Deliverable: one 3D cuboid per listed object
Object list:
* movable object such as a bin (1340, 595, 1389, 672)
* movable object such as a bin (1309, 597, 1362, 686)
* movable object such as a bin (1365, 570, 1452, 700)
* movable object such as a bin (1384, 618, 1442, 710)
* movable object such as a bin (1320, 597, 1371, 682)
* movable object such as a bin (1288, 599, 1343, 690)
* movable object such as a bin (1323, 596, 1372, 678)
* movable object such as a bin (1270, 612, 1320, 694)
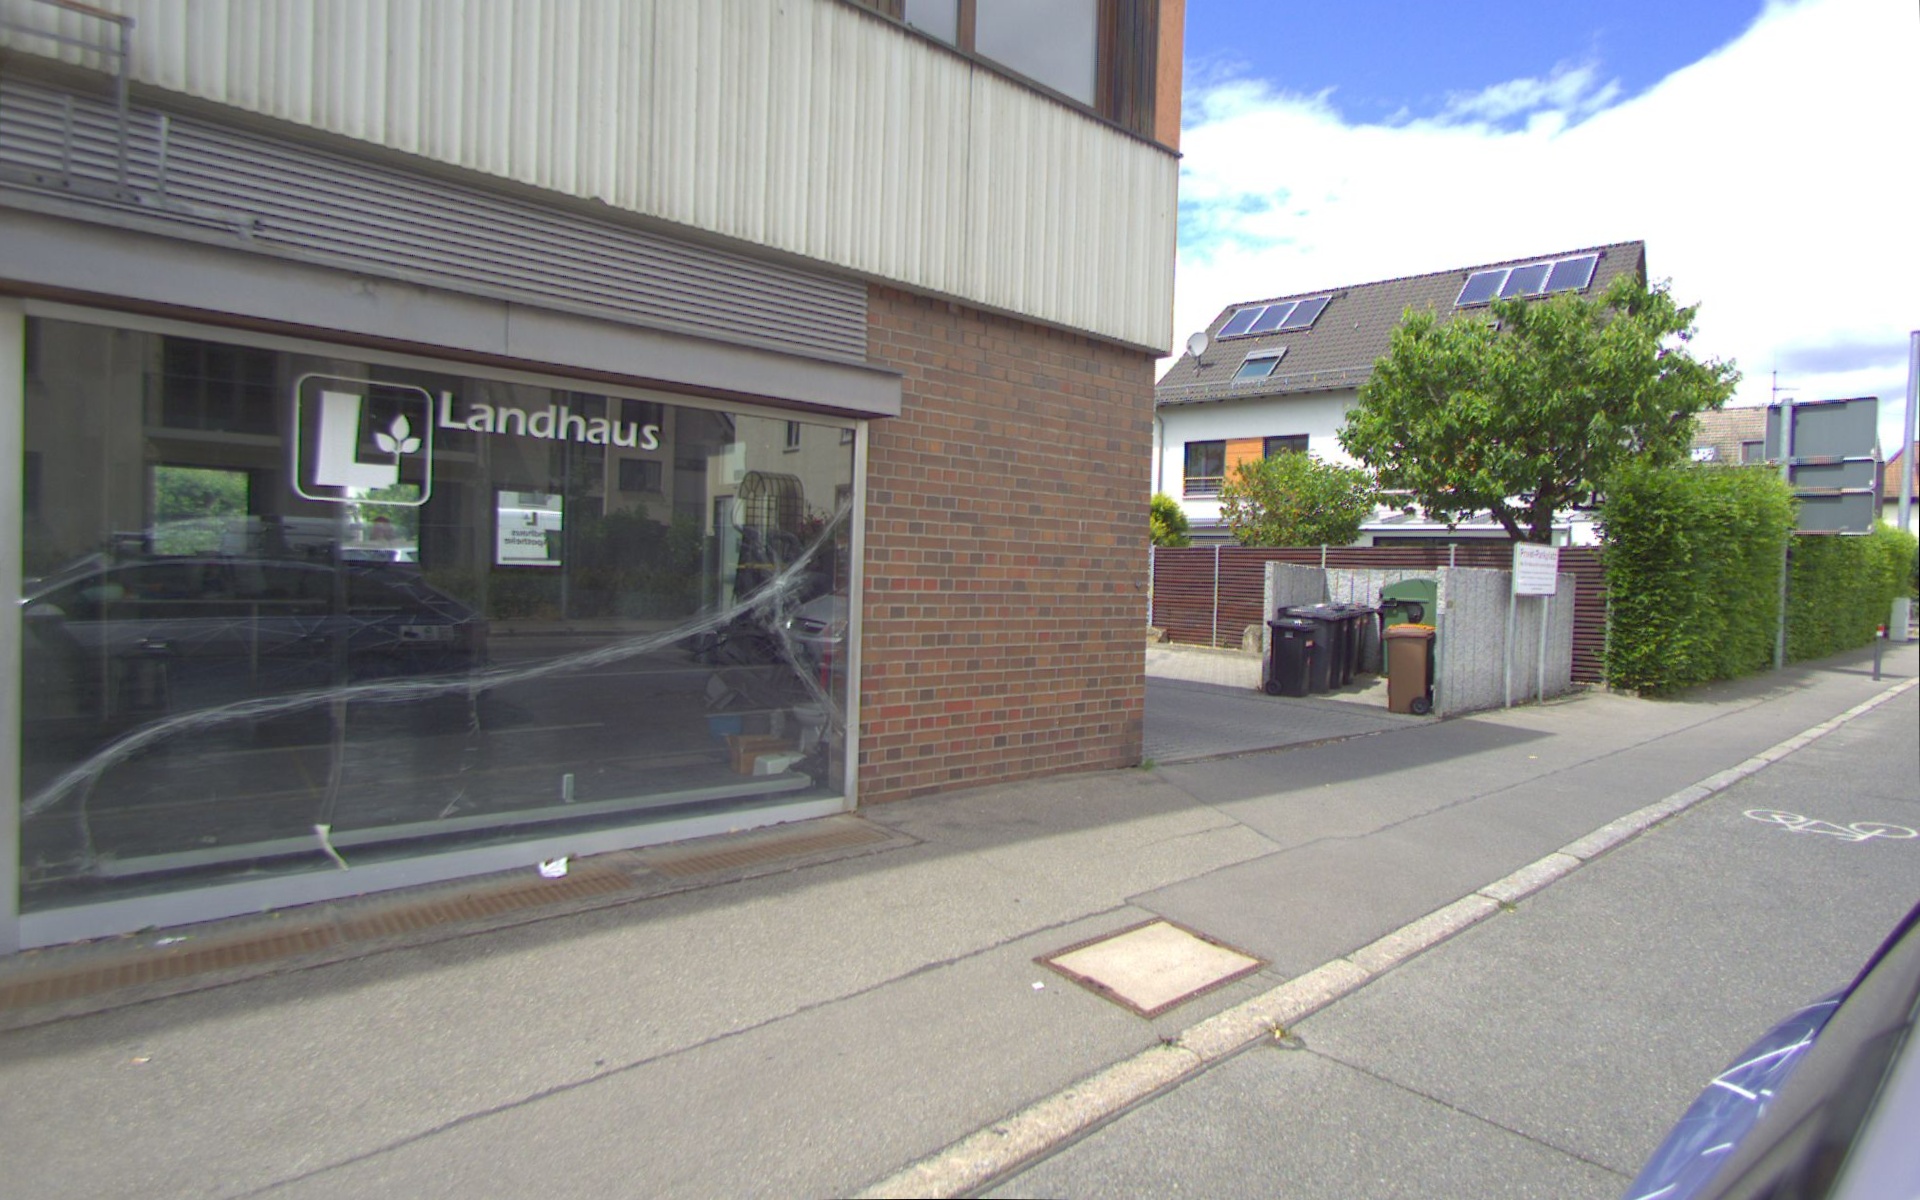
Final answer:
[{"bbox_3d":[5.896,0.474,14.735,0.591,1.088,0.484,1,1,30],"label":"movable object such as a bin"},{"bbox_3d":[4.836,0.520,13.019,0.590,1.088,0.485,1,1,25],"label":"movable object such as a bin"},{"bbox_3d":[5.281,0.389,11.936,0.471,1.472,0.808,0,1,-45],"label":"movable object such as a bin"},{"bbox_3d":[4.900,0.681,10.945,0.514,0.933,0.474,1,1,31],"label":"movable object such as a bin"},{"bbox_3d":[5.134,0.509,13.462,0.590,1.088,0.485,1,1,25],"label":"movable object such as a bin"},{"bbox_3d":[4.437,0.544,12.634,0.590,1.088,0.485,1,1,25],"label":"movable object such as a bin"},{"bbox_3d":[5.344,0.492,13.959,0.590,1.088,0.485,1,1,25],"label":"movable object such as a bin"},{"bbox_3d":[4.063,0.630,12.254,0.513,0.933,0.475,1,1,25],"label":"movable object such as a bin"}]
